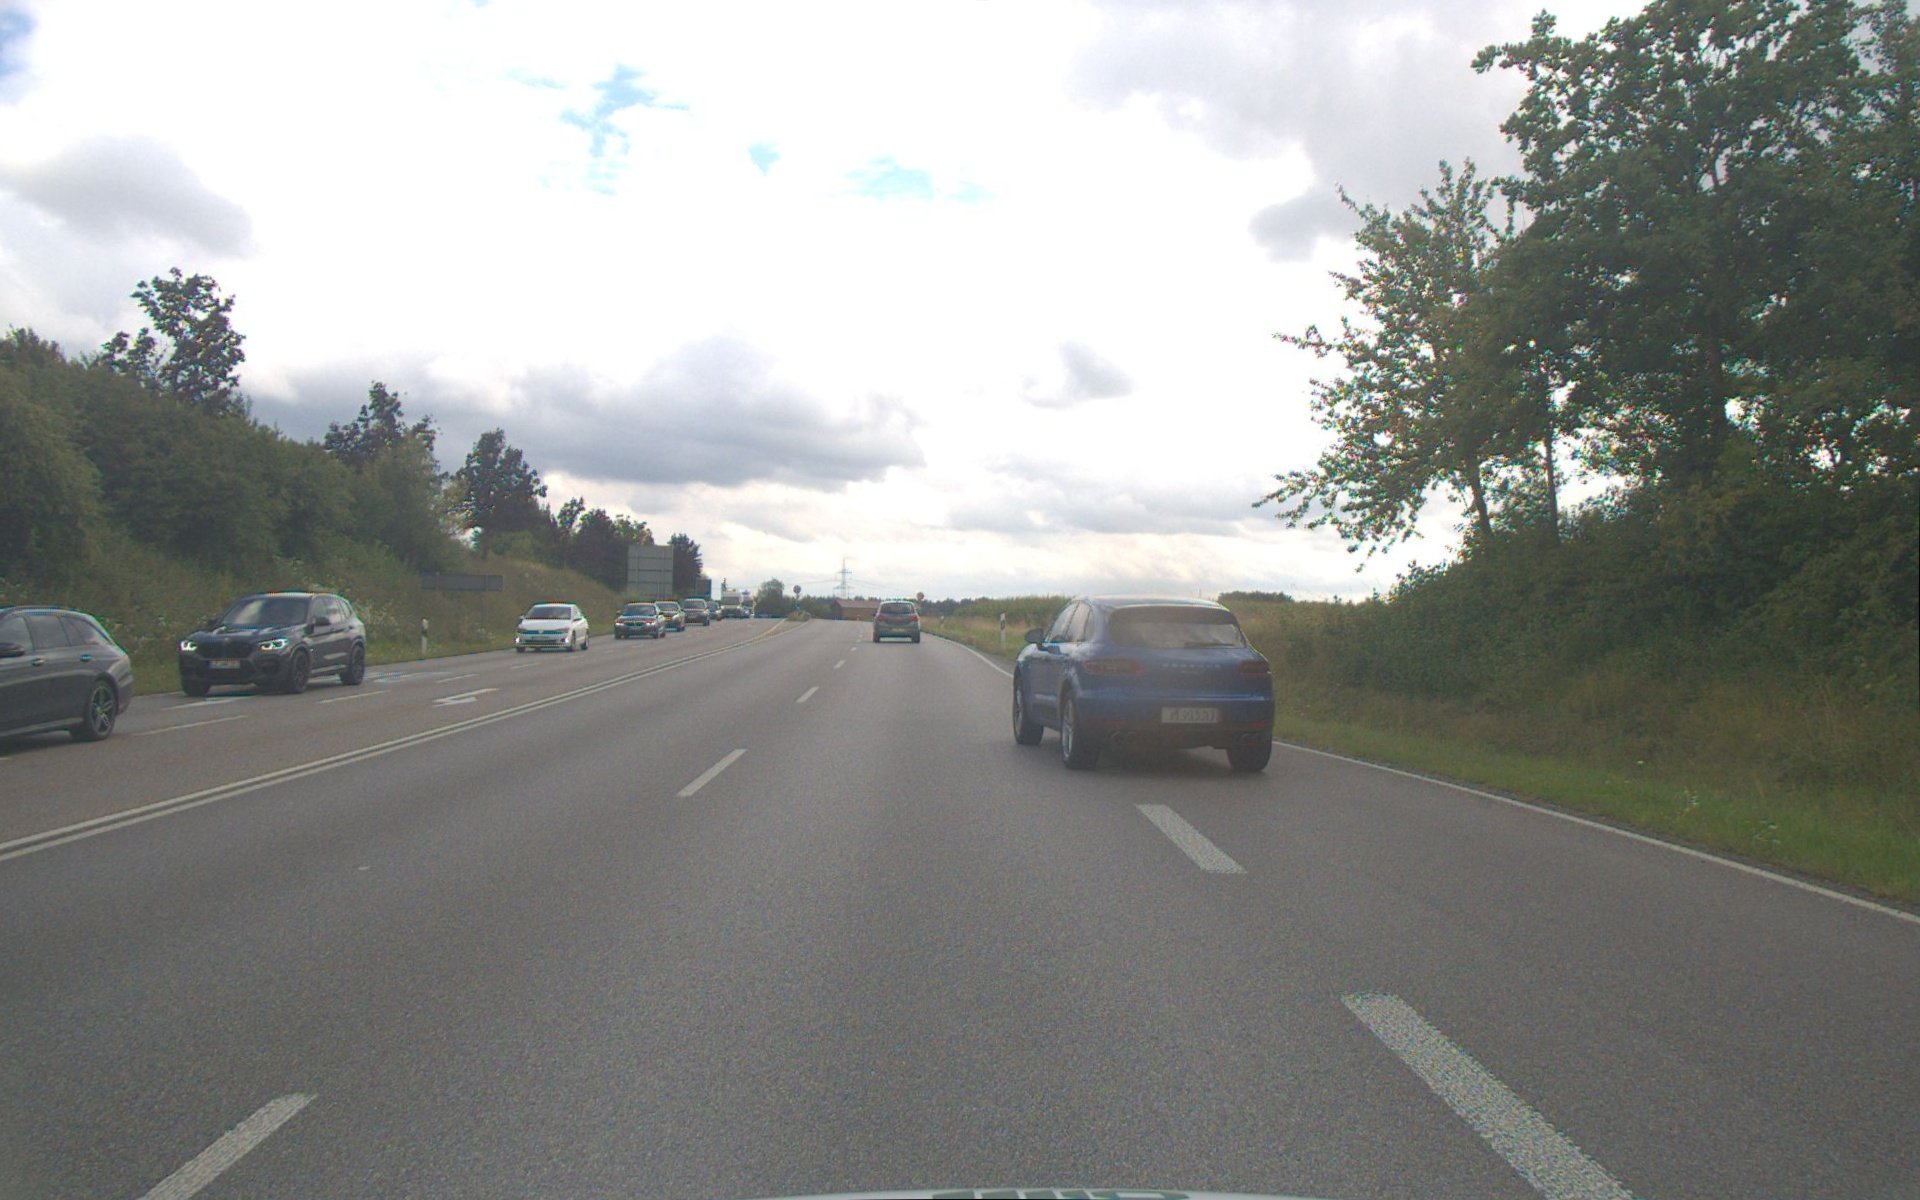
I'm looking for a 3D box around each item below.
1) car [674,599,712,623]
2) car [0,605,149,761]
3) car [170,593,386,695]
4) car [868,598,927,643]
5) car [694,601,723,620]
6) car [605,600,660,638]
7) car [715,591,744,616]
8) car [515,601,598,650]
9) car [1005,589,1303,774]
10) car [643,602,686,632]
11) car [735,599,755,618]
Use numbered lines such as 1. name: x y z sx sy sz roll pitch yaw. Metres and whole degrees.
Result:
1. car: -16.979 0.685 105.267 1.954 1.534 3.997 0 0 -4
2. car: -10.343 0.814 16.731 1.953 1.520 4.990 0 0 -2
3. car: -11.881 0.712 29.214 1.954 1.639 4.989 0 0 -3
4. car: -2.315 0.721 60.751 1.955 1.562 3.996 1 0 -5
5. car: -19.820 0.813 130.490 1.955 1.517 3.995 0 0 -5
6. car: -13.752 0.780 69.613 1.955 1.534 3.994 0 0 -7
7. car: -21.310 0.346 152.970 2.317 2.250 5.916 0 0 -5
8. car: -12.465 0.754 51.321 1.634 1.467 4.145 0 0 -2
9. car: 1.763 0.717 16.748 1.955 1.598 4.749 1 0 -7
10. car: -15.398 0.878 86.331 1.761 1.512 4.165 0 0 -5
11. car: -25.760 0.964 197.932 2.319 2.250 5.298 0 0 -8
